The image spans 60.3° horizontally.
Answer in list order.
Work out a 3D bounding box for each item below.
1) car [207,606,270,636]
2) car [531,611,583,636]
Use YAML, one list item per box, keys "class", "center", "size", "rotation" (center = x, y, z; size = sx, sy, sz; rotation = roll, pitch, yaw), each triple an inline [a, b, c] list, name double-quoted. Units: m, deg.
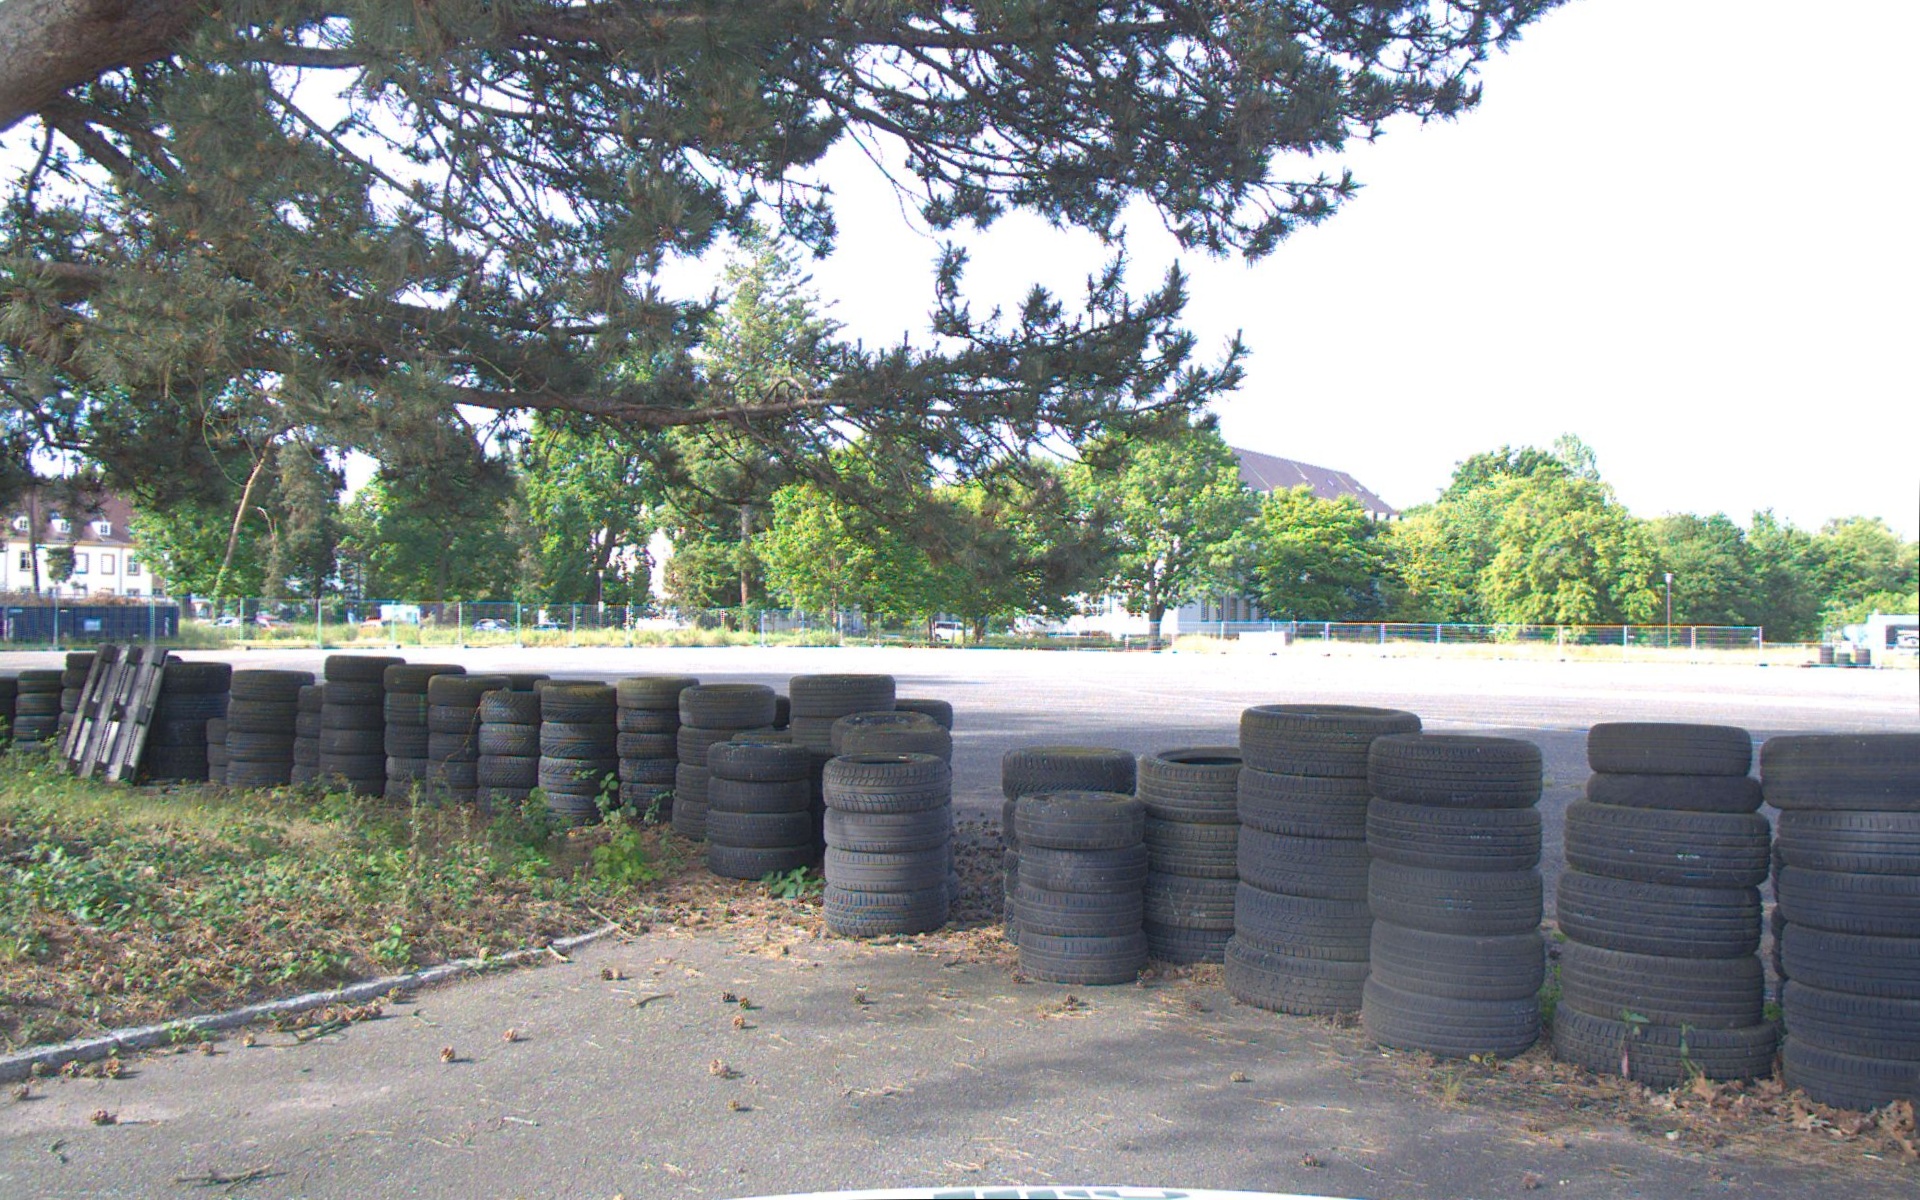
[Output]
- class: "car"
  center: [-44.459, 1.291, 101.878]
  size: [3.925, 1.780, 1.990]
  rotation: [0, -1, 40]
- class: "car"
  center: [-29.920, 1.726, 122.757]
  size: [3.933, 1.780, 1.986]
  rotation: [0, -1, 45]
